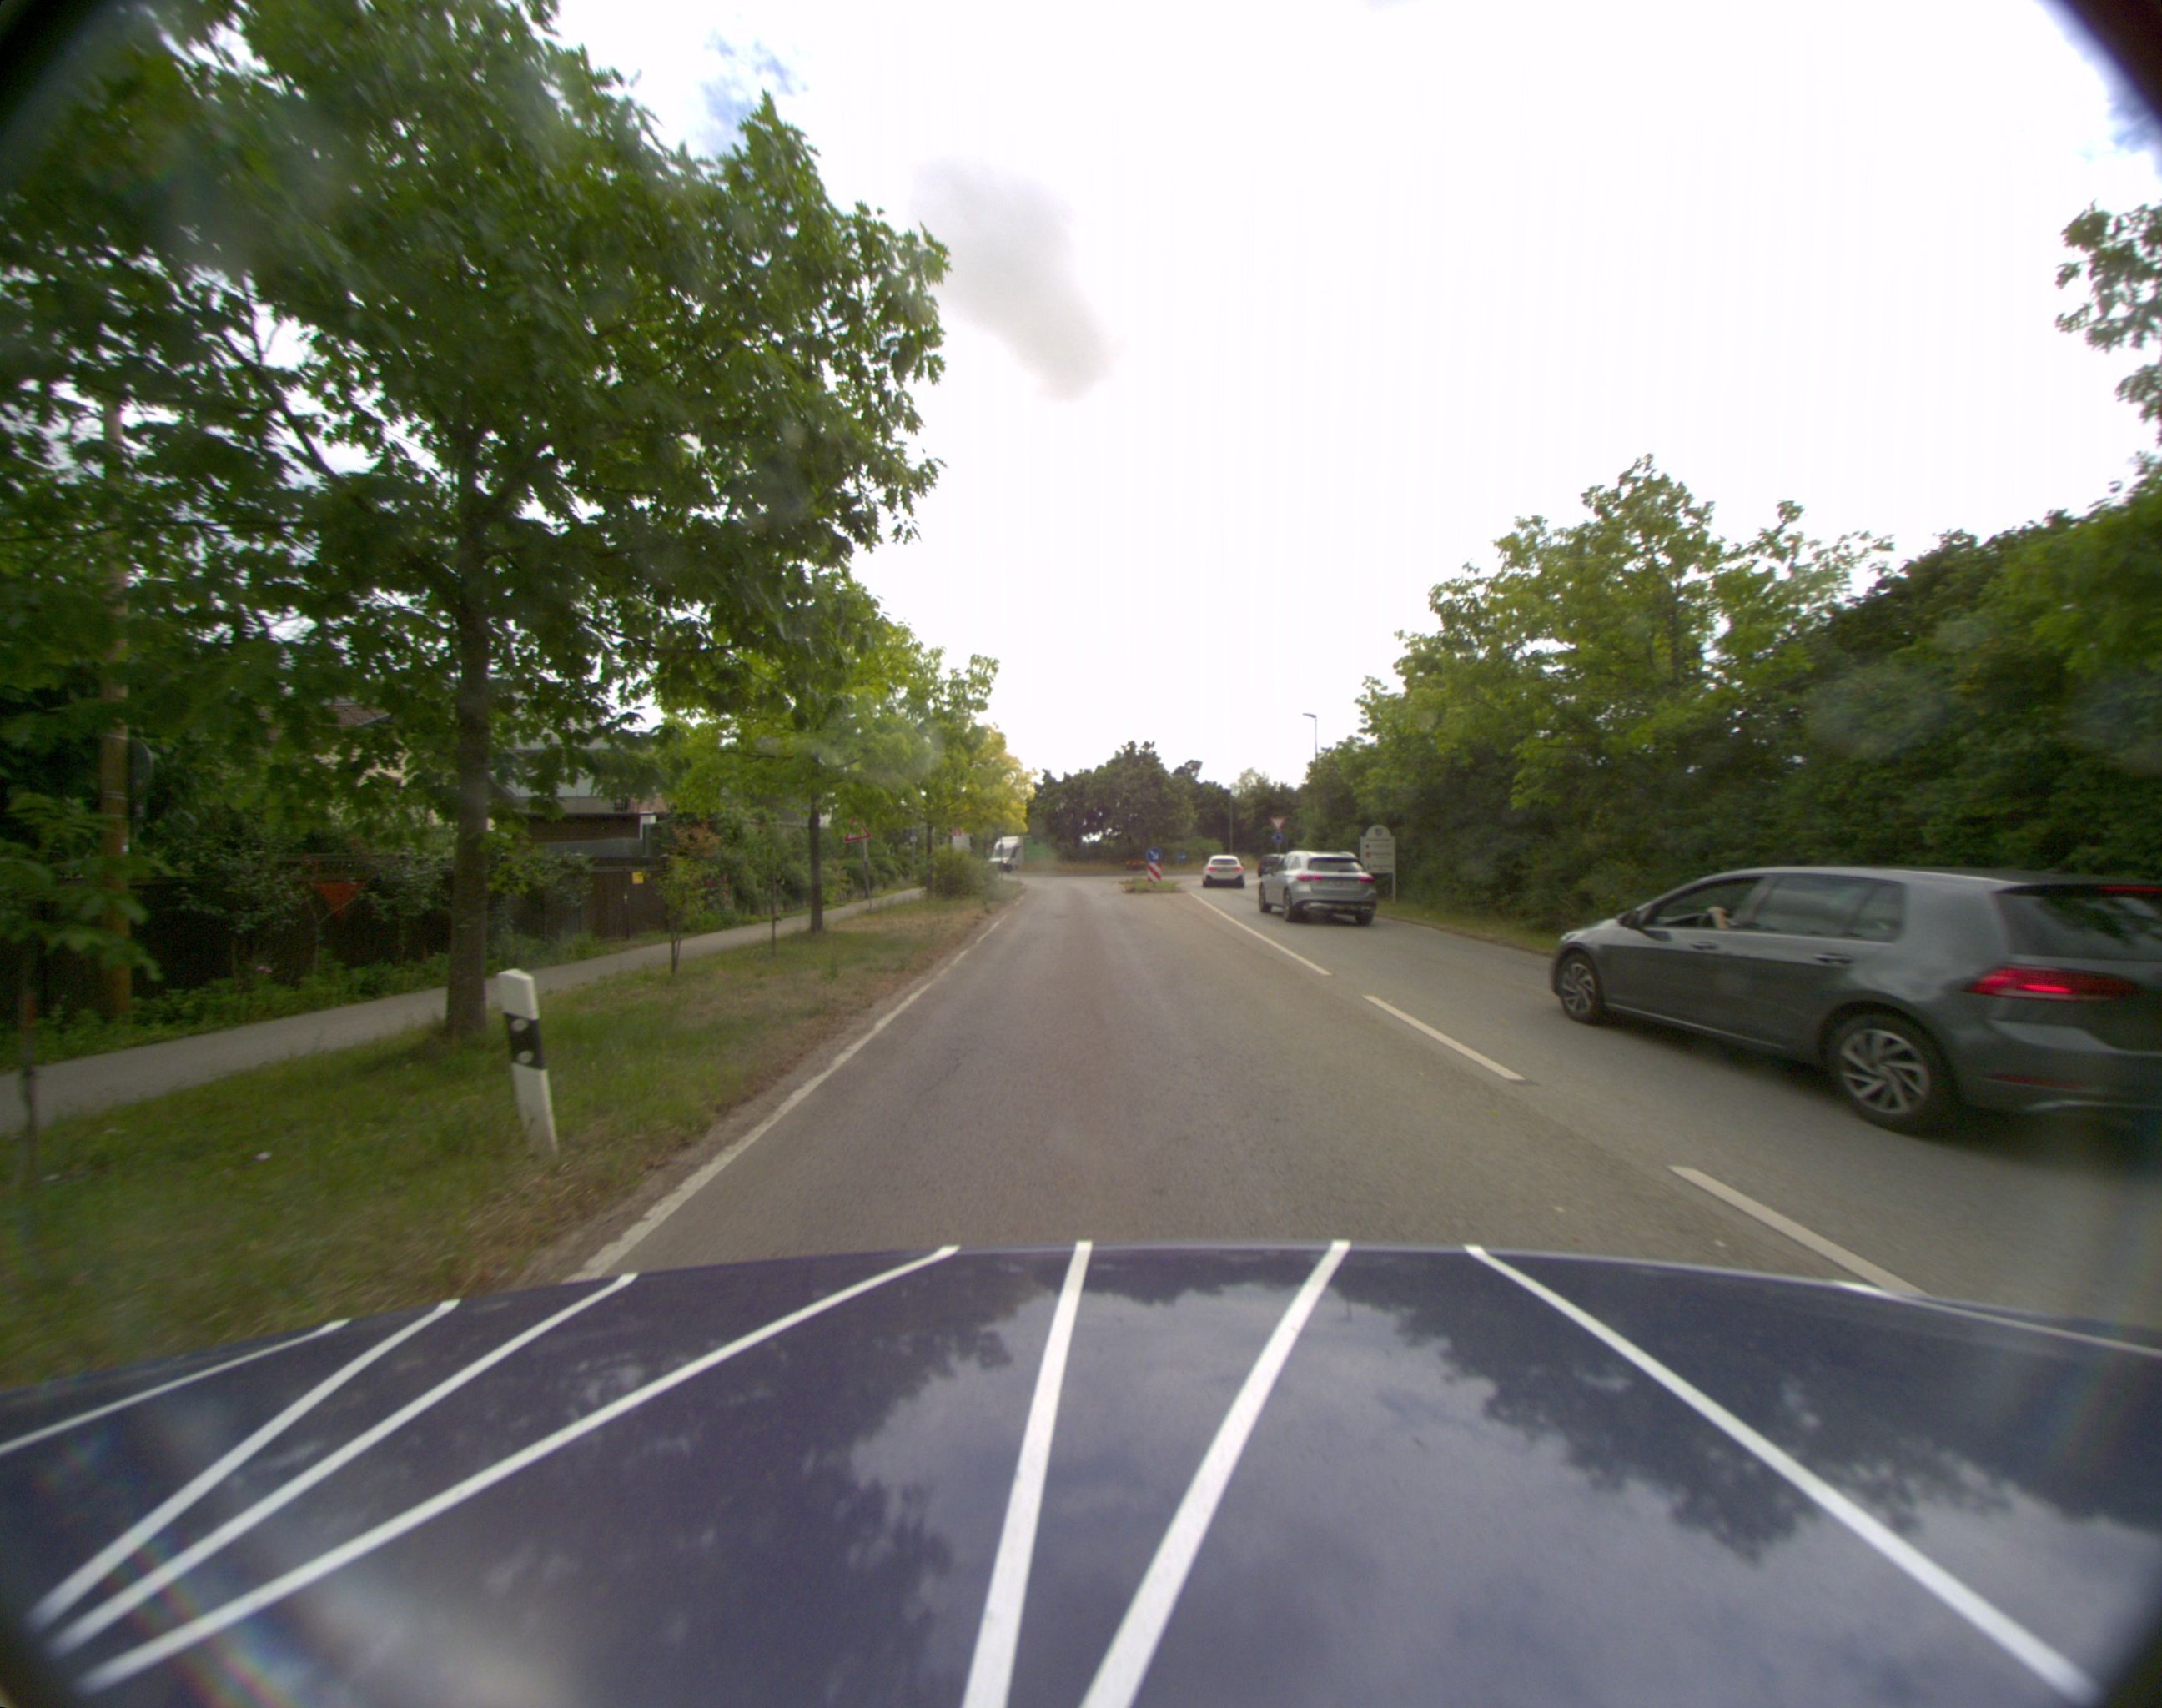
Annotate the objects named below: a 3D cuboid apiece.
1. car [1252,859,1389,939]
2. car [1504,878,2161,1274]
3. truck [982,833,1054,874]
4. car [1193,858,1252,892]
[{"bbox_3d":[5.590,0.962,18.441,1.998,1.592,4.665,2,0,3],"label":"car"},{"bbox_3d":[5.212,0.985,5.272,1.999,1.411,4.477,2,0,0],"label":"car"},{"bbox_3d":[-5.581,-0.072,68.647,2.609,3.427,7.521,-1,0,30],"label":"truck"},{"bbox_3d":[6.710,0.972,36.582,2.218,1.445,4.945,2,-1,4],"label":"car"}]
